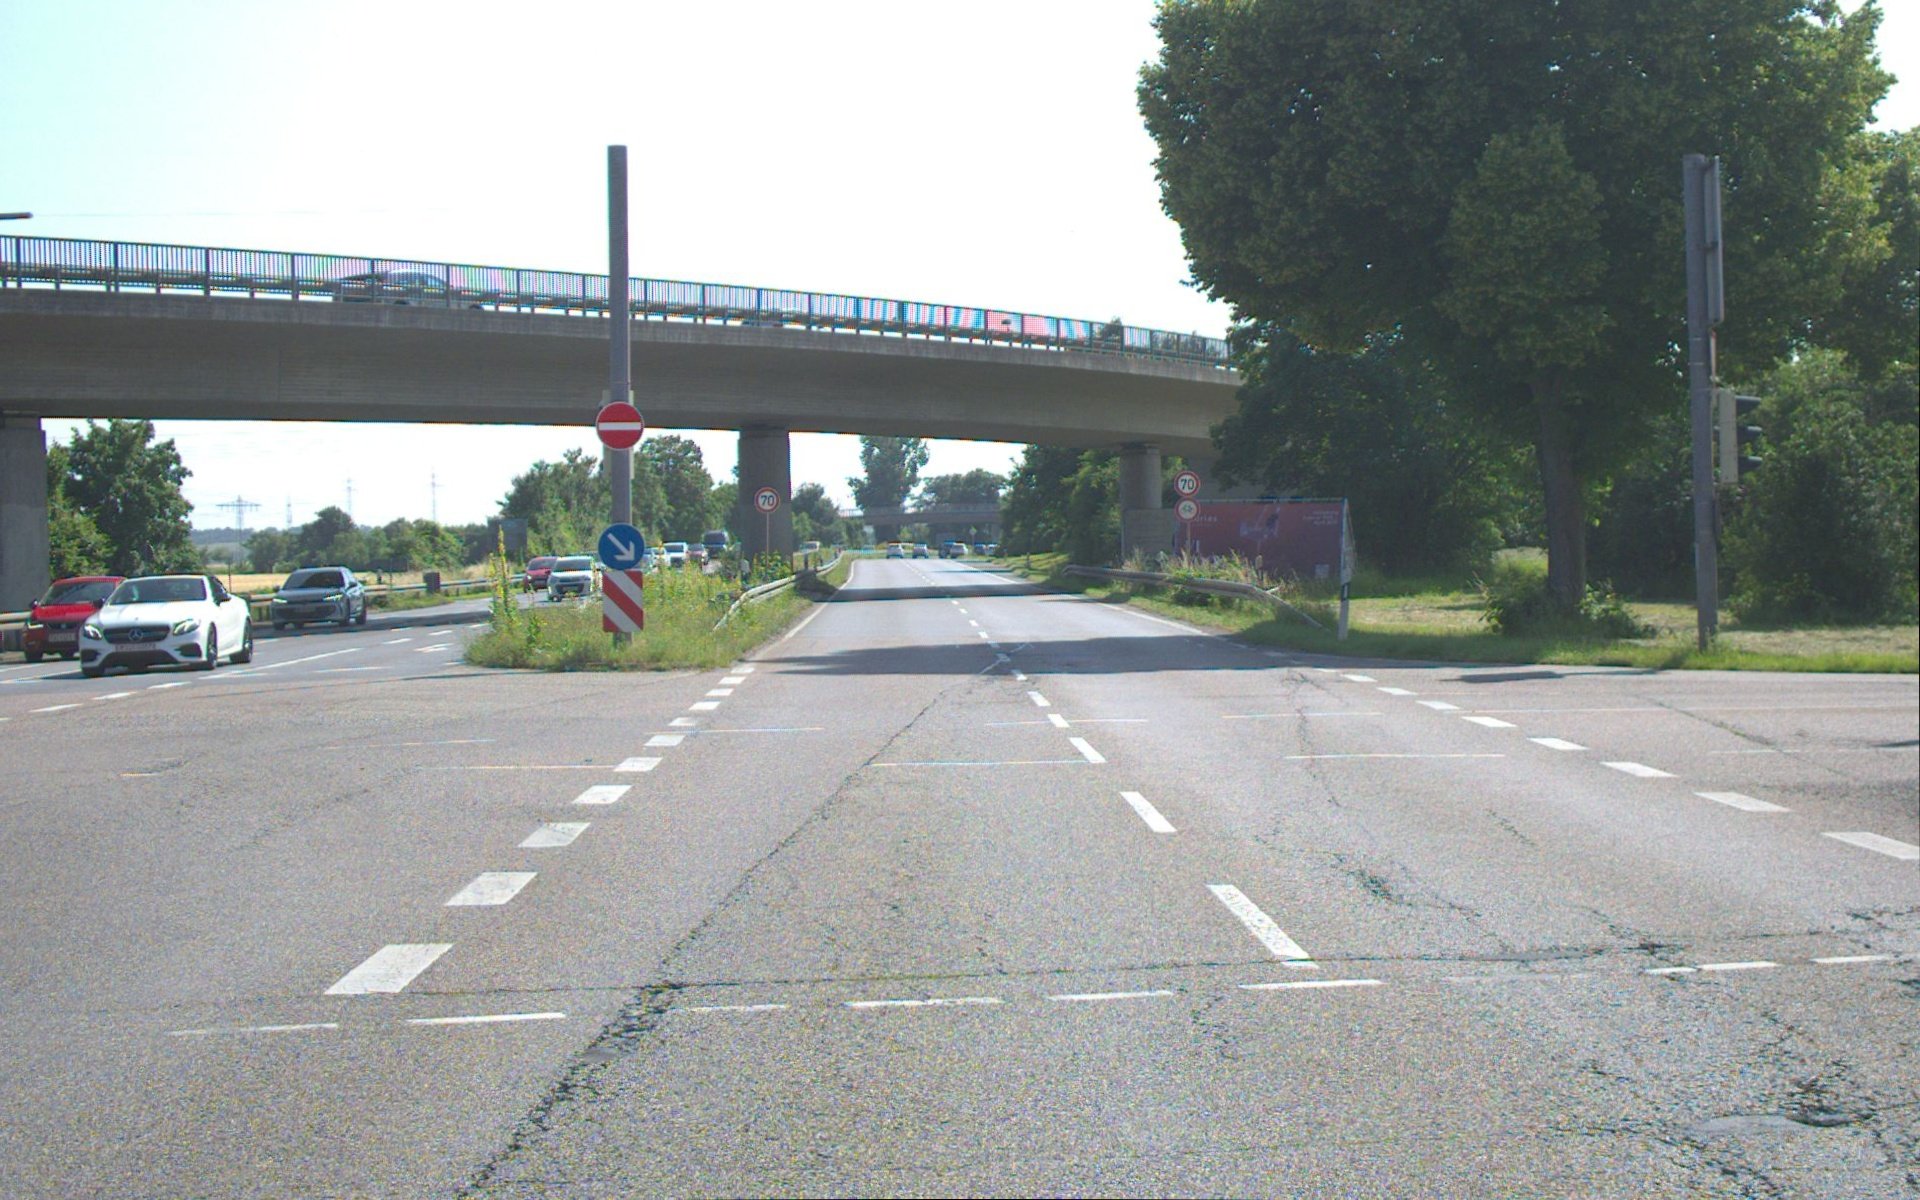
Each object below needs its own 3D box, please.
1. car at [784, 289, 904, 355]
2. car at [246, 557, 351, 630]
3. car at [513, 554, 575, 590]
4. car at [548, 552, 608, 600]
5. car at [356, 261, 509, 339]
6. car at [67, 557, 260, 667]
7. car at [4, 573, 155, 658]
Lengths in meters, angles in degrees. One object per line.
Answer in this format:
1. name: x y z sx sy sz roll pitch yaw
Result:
1. car: -3.120 -7.543 93.452 1.740 1.464 3.745 1 0 25
2. car: -15.738 -0.169 81.953 1.790 1.622 4.000 -2 1 -2
3. car: -18.978 -1.296 157.077 1.994 1.553 3.999 -2 1 5
4. car: -12.857 -0.814 115.839 1.557 1.535 4.000 -2 1 -1
5. car: -11.953 -6.785 78.002 1.539 1.472 3.385 -2 0 32
6. car: -11.675 0.145 50.661 1.856 1.443 4.241 -3 1 -1
7. car: -15.651 0.242 61.278 1.640 1.380 4.241 -2 1 -1
